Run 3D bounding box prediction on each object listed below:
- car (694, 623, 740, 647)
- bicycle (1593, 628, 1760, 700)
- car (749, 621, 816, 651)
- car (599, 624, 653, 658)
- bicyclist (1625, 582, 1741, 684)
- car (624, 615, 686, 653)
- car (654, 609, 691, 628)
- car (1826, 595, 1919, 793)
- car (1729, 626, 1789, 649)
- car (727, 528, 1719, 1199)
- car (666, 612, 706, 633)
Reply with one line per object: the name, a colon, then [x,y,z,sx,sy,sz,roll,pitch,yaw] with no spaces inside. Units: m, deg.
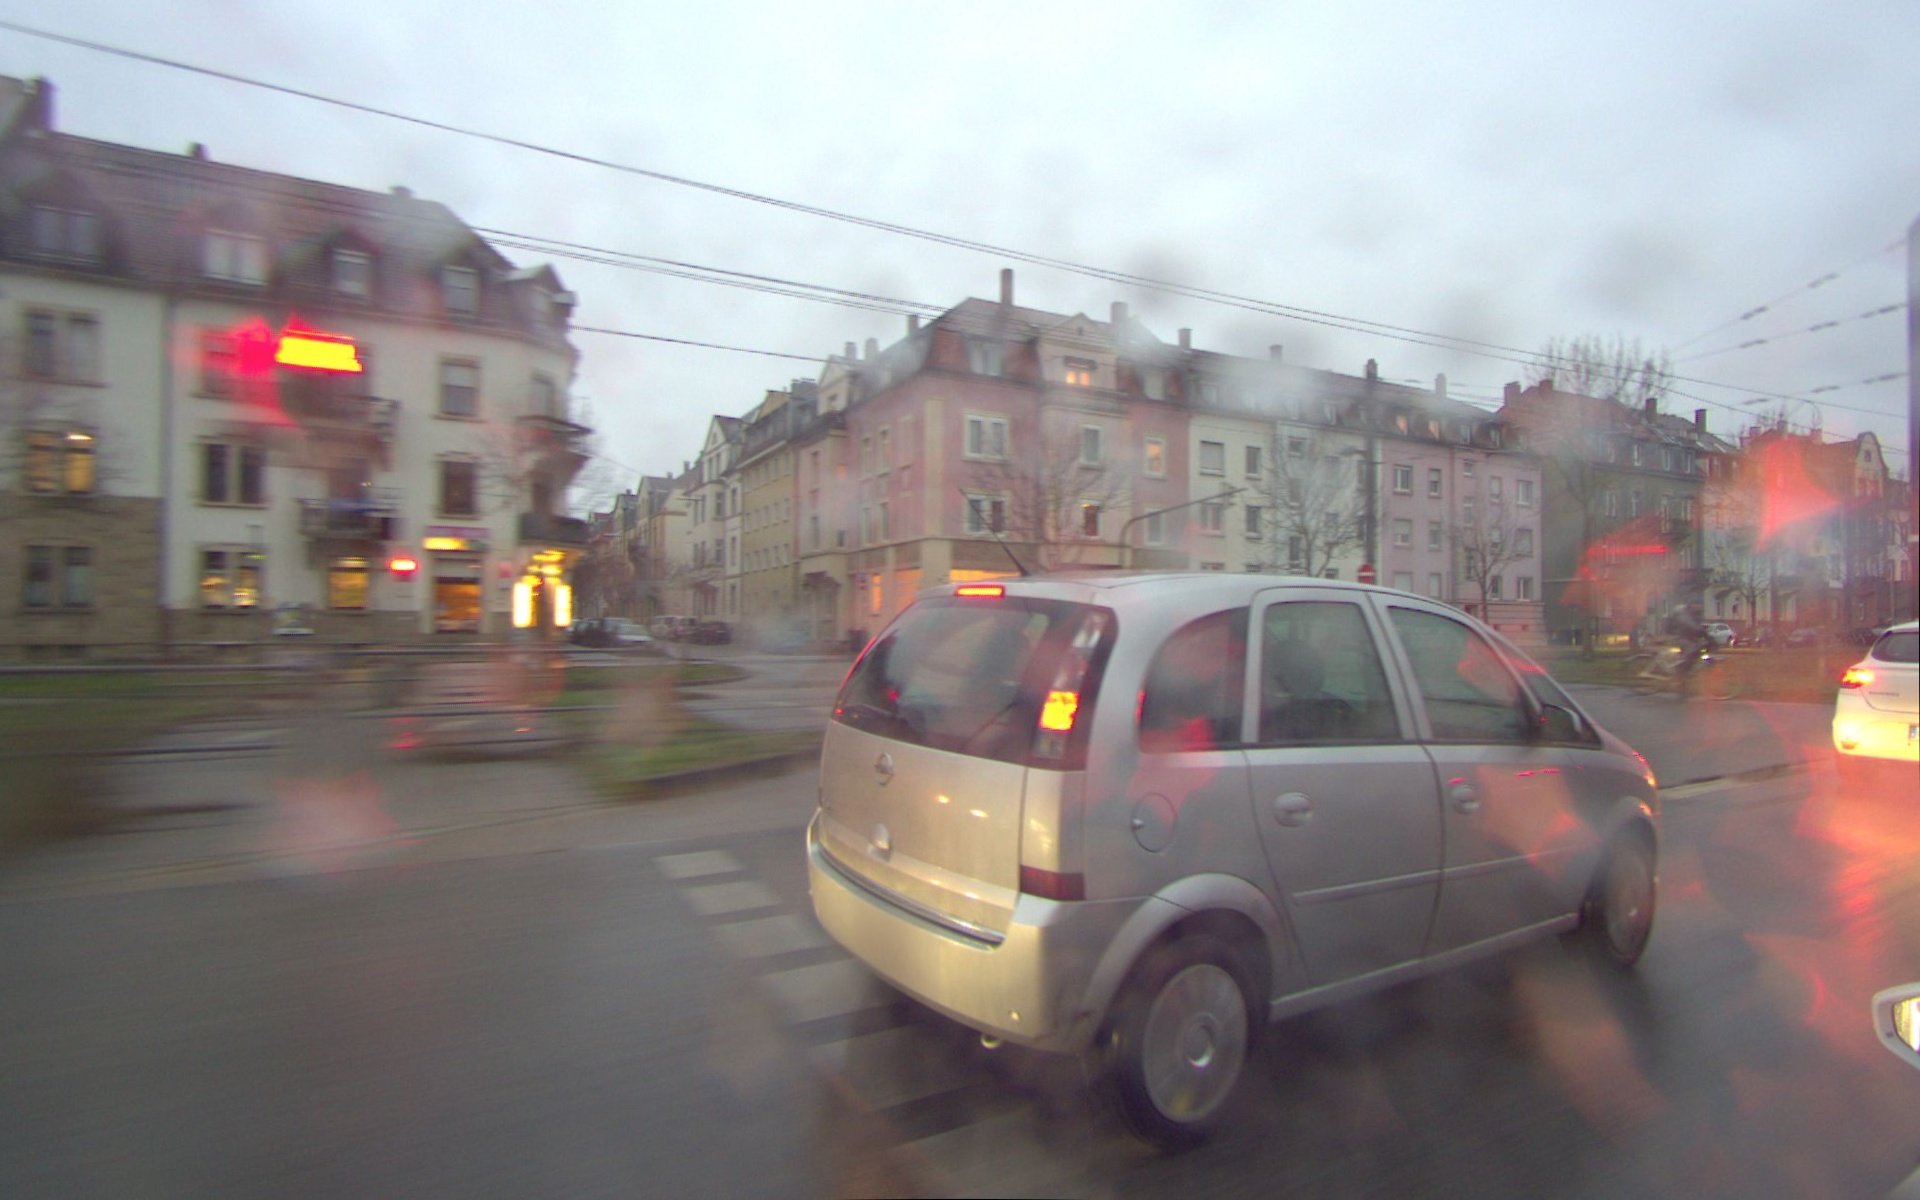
car: [-15.789,2.256,65.162,1.975,1.439,3.971,1,-1,-28]
bicycle: [12.683,1.099,17.882,2.363,1.186,1.036,-1,-2,35]
car: [-9.009,1.798,50.902,1.978,1.439,3.964,1,-1,-33]
car: [-15.646,1.902,46.994,1.772,1.505,3.971,1,-1,-28]
bicyclist: [12.793,0.572,17.829,1.616,1.723,1.036,-1,-2,35]
car: [-12.991,1.413,42.651,1.772,1.505,3.971,1,-1,-28]
car: [-22.173,1.400,77.291,1.975,1.439,3.972,1,-1,-27]
car: [9.672,0.809,9.147,4.010,1.621,1.662,1,0,-33]
car: [50.879,2.368,63.947,3.513,1.372,1.768,1,-2,-29]
car: [1.275,0.679,4.192,4.011,1.621,1.798,1,0,-34]
car: [-19.724,1.573,72.109,1.975,1.439,3.972,1,-1,-27]
